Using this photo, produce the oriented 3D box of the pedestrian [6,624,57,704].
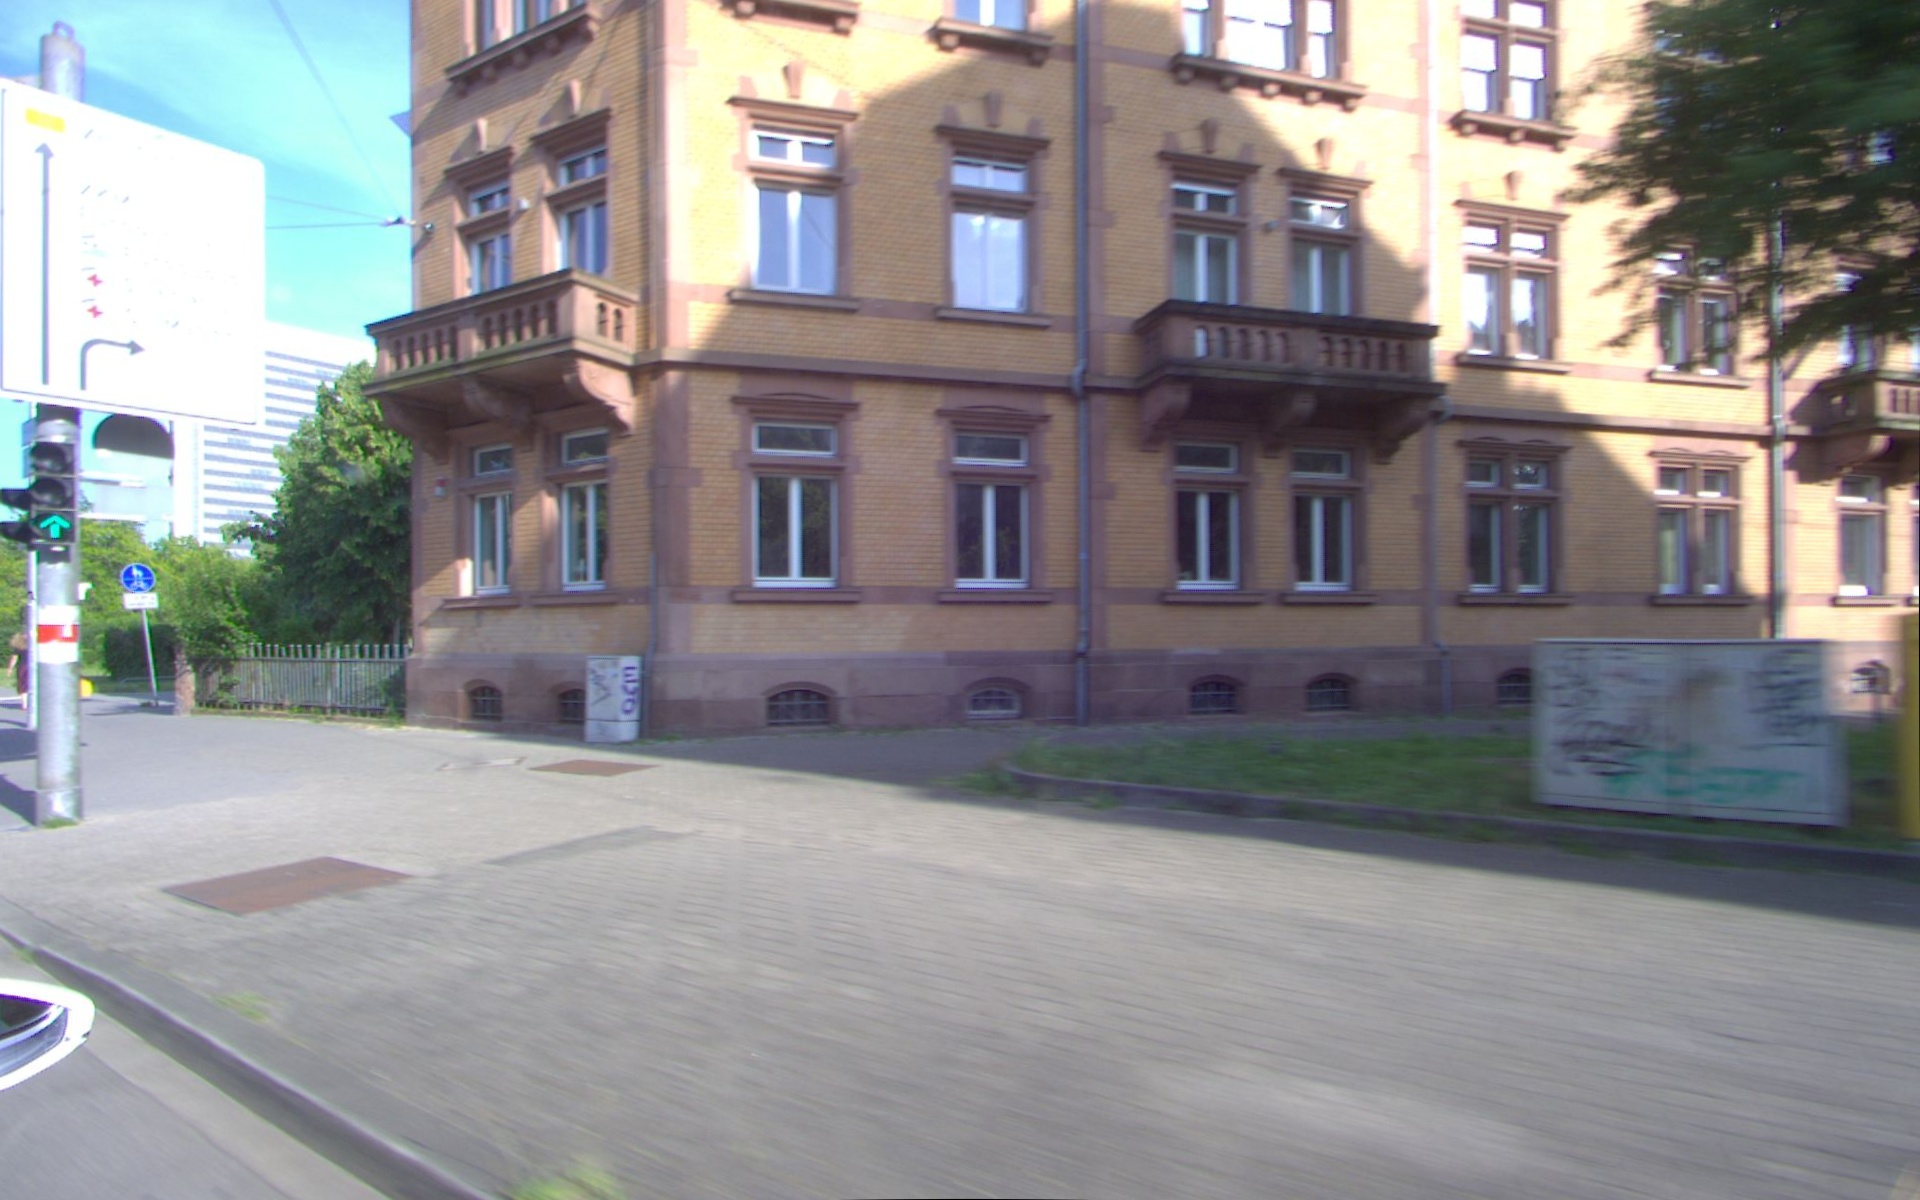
[{"bbox_3d":[-20.786,1.415,22.425,0.541,1.716,0.613,0,4,33],"label":"pedestrian"}]
